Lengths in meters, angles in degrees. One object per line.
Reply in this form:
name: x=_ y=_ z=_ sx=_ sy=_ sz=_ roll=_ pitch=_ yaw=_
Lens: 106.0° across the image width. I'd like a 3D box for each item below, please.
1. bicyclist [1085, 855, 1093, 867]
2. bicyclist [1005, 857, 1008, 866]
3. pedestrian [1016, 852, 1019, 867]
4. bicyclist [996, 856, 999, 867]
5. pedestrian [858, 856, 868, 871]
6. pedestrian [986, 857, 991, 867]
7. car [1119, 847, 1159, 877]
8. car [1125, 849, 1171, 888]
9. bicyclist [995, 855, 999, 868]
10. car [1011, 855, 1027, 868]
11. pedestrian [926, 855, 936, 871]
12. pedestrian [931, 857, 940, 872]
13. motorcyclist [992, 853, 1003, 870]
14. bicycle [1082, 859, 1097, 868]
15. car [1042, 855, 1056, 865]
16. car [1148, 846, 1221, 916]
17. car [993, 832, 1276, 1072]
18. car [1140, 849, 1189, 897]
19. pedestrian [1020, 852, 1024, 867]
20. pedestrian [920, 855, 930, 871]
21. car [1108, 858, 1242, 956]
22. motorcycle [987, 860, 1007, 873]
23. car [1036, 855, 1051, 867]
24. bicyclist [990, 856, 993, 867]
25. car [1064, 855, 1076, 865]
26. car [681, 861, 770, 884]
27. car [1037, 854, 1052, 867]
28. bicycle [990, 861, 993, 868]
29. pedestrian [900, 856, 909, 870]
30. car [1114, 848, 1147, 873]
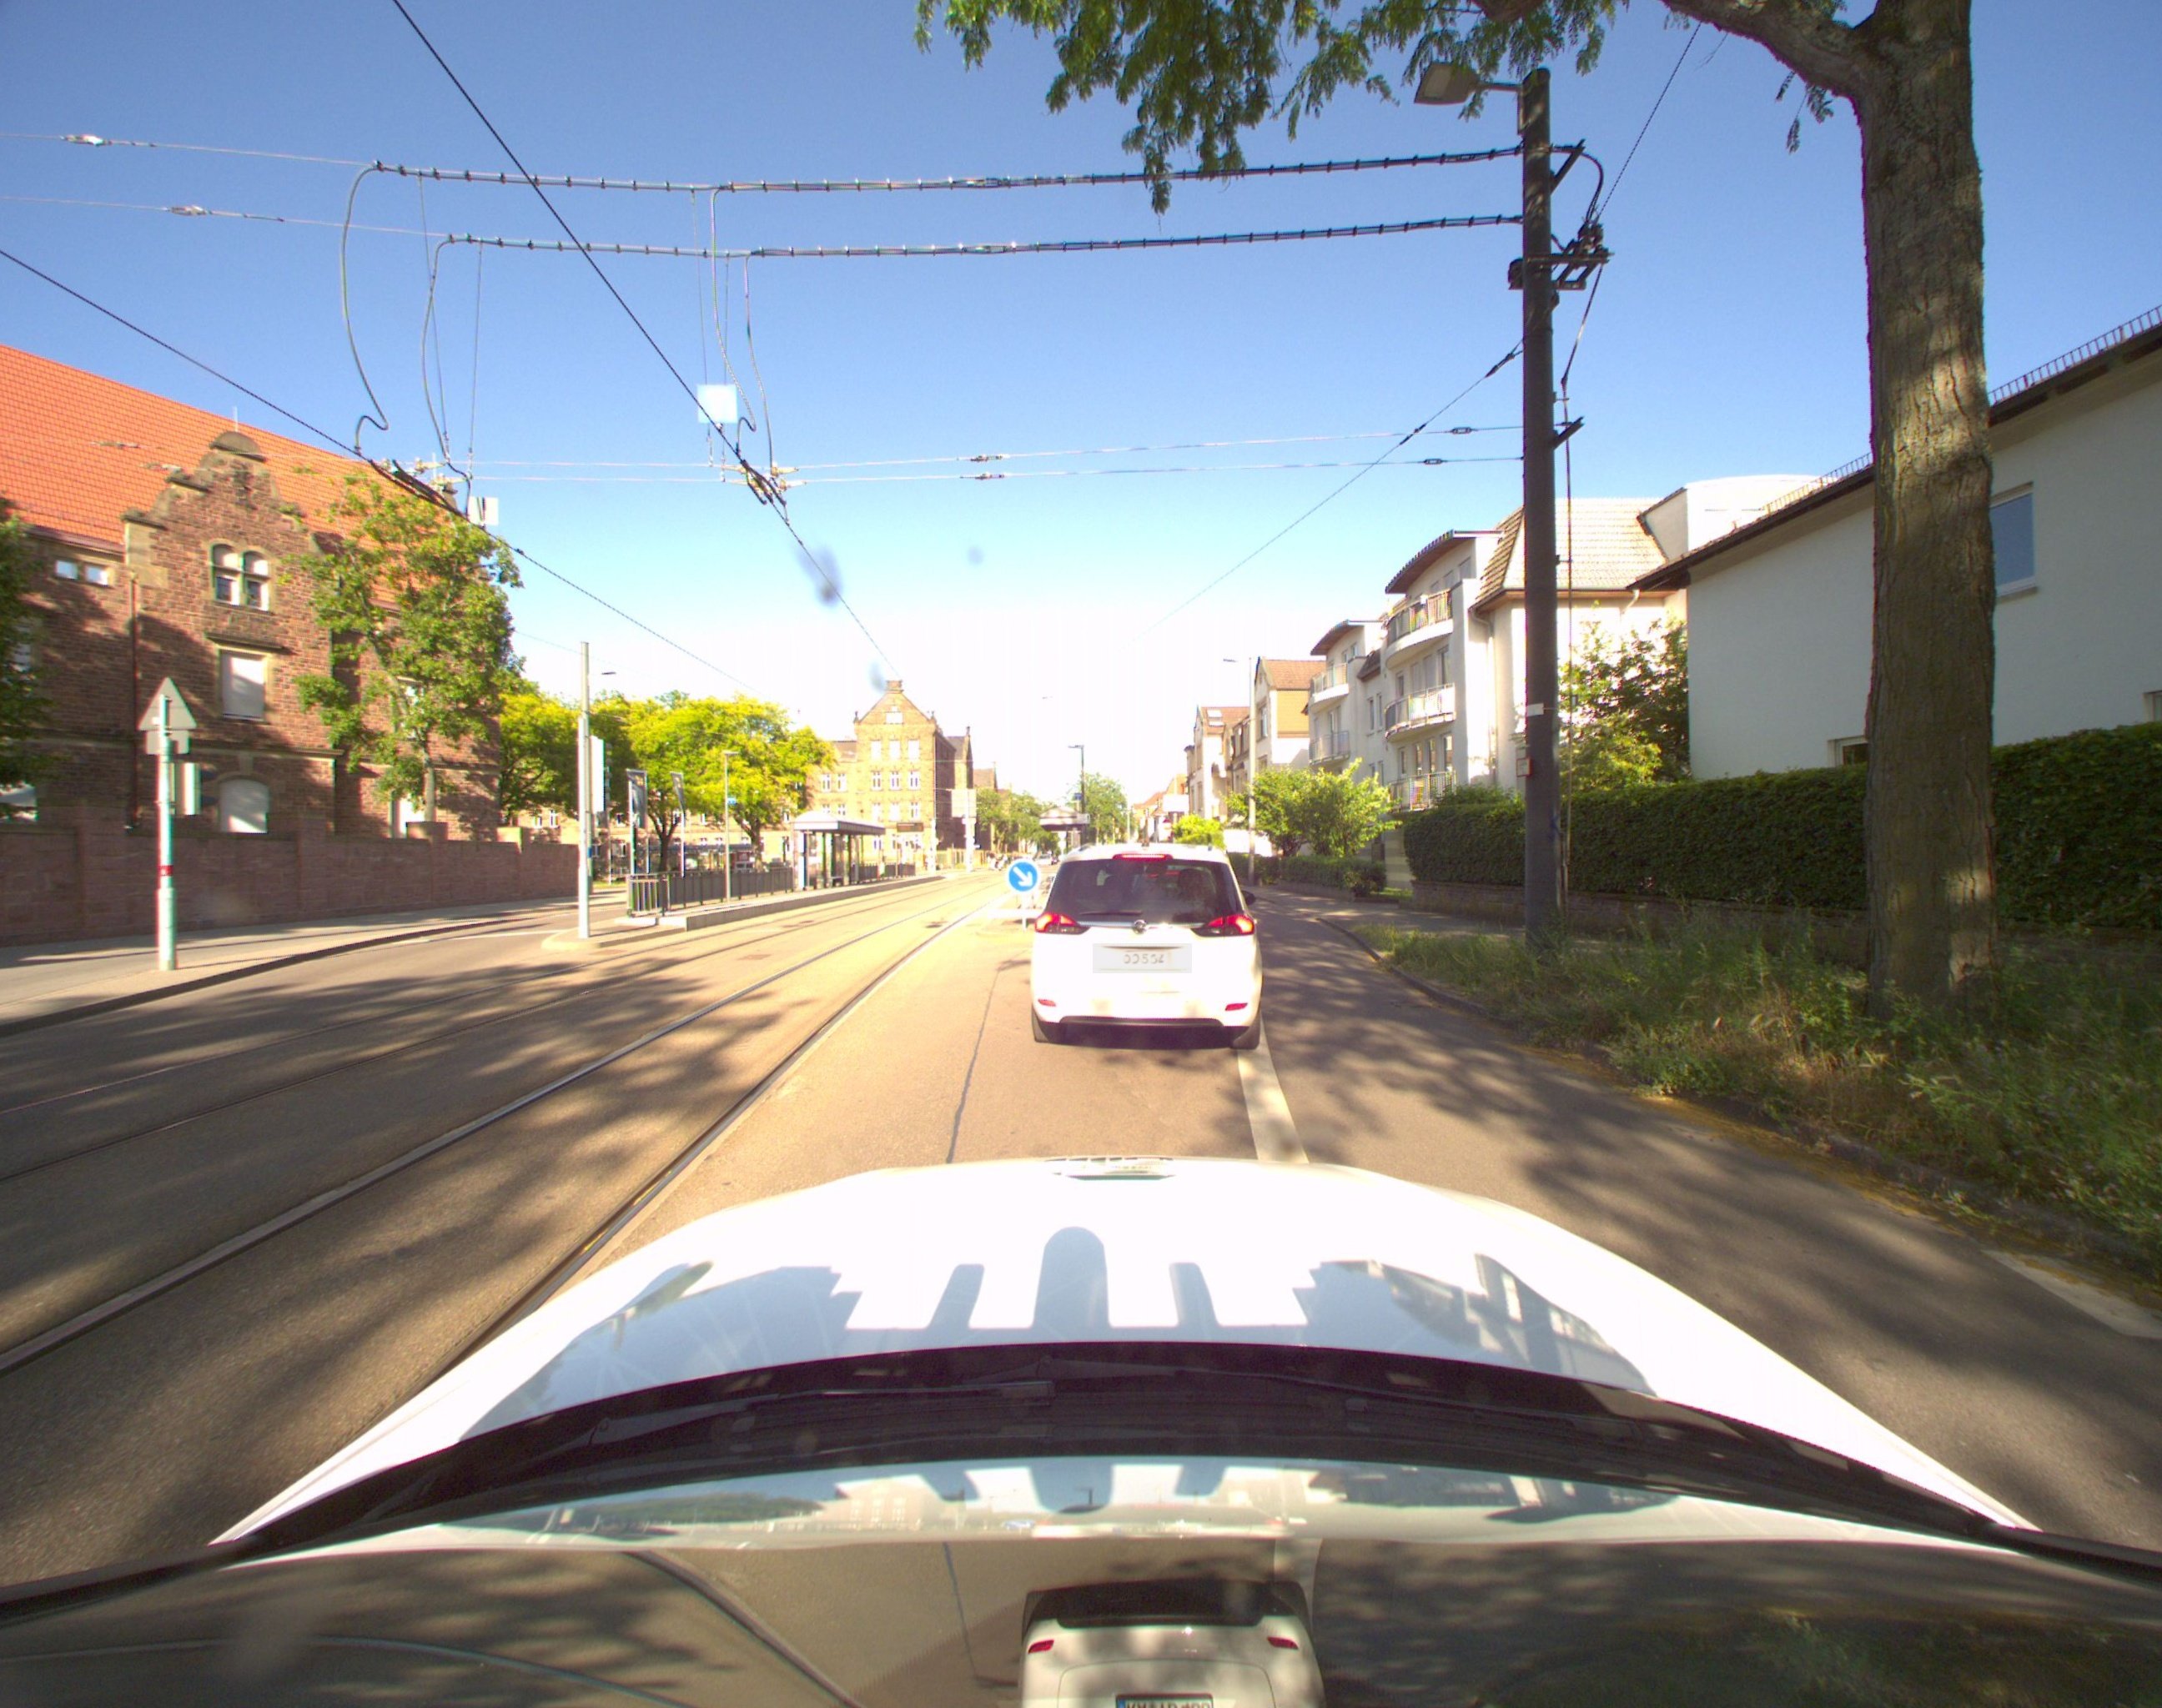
bicyclist: x=0.904 y=0.782 z=93.206 sx=0.754 sy=1.430 sz=0.517 roll=0 pitch=-1 yaw=8
bicyclist: x=-10.213 y=1.007 z=112.268 sx=0.358 sy=1.303 sz=0.397 roll=-1 pitch=0 yaw=-2
pedestrian: x=-8.765 y=0.782 z=112.350 sx=0.443 sy=2.013 sz=0.495 roll=-1 pitch=0 yaw=-2
bicyclist: x=-10.975 y=0.985 z=107.023 sx=0.443 sy=1.553 sz=0.495 roll=-1 pitch=0 yaw=-2
pedestrian: x=-23.897 y=1.017 z=89.235 sx=0.930 sy=1.588 sz=0.804 roll=0 pitch=-1 yaw=-3
pedestrian: x=-15.518 y=1.393 z=136.619 sx=0.733 sy=1.714 sz=0.753 roll=0 pitch=-1 yaw=-4
car: x=3.129 y=0.418 z=44.374 sx=1.986 sy=1.503 sz=4.002 roll=-1 pitch=0 yaw=2
car: x=2.932 y=0.615 z=36.248 sx=1.824 sy=1.579 sz=4.012 roll=-1 pitch=0 yaw=2
bicyclist: x=-10.703 y=0.955 z=103.733 sx=0.443 sy=1.553 sz=0.742 roll=-1 pitch=0 yaw=-2
car: x=-8.187 y=0.931 z=107.479 sx=1.989 sy=1.629 sz=3.996 roll=-1 pitch=0 yaw=-3
pedestrian: x=-16.129 y=0.970 z=87.591 sx=0.892 sy=1.684 sz=1.029 roll=0 pitch=-1 yaw=1
pedestrian: x=-17.187 y=1.215 z=96.168 sx=0.728 sy=1.714 sz=0.710 roll=-1 pitch=-1 yaw=24
motorcyclist: x=-8.063 y=0.759 z=78.255 sx=0.607 sy=1.621 sz=0.850 roll=-1 pitch=0 yaw=41
bicycle: x=0.946 y=1.085 z=93.195 sx=1.661 sy=0.953 sz=0.530 roll=-1 pitch=0 yaw=8
car: x=-5.126 y=0.918 z=130.990 sx=1.987 sy=1.629 sz=4.000 roll=-1 pitch=0 yaw=0
car: x=2.575 y=0.641 z=20.892 sx=1.630 sy=1.601 sz=3.859 roll=-1 pitch=0 yaw=4
car: x=0.645 y=0.685 z=7.702 sx=1.982 sy=1.644 sz=4.003 roll=0 pitch=0 yaw=8
car: x=2.946 y=0.638 z=29.318 sx=1.630 sy=1.601 sz=3.859 roll=-1 pitch=0 yaw=4
pedestrian: x=-8.141 y=0.780 z=112.651 sx=0.443 sy=2.013 sz=0.495 roll=-1 pitch=0 yaw=-2
pedestrian: x=-17.018 y=0.995 z=89.002 sx=0.839 sy=1.691 sz=1.029 roll=0 pitch=-1 yaw=1
car: x=1.533 y=0.793 z=14.064 sx=1.944 sy=1.397 sz=4.005 roll=-1 pitch=0 yaw=4
motorcycle: x=-8.057 y=1.197 z=78.259 sx=0.605 sy=1.198 sz=2.088 roll=-1 pitch=0 yaw=41
car: x=-5.292 y=0.961 z=114.743 sx=1.989 sy=1.629 sz=3.996 roll=-1 pitch=0 yaw=-3
bicyclist: x=-12.680 y=1.066 z=115.601 sx=0.443 sy=1.553 sz=0.495 roll=-1 pitch=0 yaw=-2
car: x=-1.830 y=0.926 z=134.517 sx=1.988 sy=1.629 sz=3.998 roll=-1 pitch=0 yaw=-1
car: x=-32.957 y=1.701 z=75.700 sx=6.926 sy=1.921 sz=2.992 roll=-1 pitch=0 yaw=0
car: x=-4.811 y=0.900 z=107.620 sx=1.989 sy=1.629 sz=3.996 roll=-1 pitch=0 yaw=-3
bicycle: x=-12.673 y=1.534 z=115.635 sx=0.343 sy=0.950 sz=0.996 roll=0 pitch=-1 yaw=-1
pedestrian: x=-19.179 y=0.977 z=88.403 sx=0.799 sy=1.588 sz=0.934 roll=0 pitch=-1 yaw=-1
car: x=3.104 y=0.390 z=51.842 sx=1.986 sy=1.503 sz=4.002 roll=-1 pitch=0 yaw=2
